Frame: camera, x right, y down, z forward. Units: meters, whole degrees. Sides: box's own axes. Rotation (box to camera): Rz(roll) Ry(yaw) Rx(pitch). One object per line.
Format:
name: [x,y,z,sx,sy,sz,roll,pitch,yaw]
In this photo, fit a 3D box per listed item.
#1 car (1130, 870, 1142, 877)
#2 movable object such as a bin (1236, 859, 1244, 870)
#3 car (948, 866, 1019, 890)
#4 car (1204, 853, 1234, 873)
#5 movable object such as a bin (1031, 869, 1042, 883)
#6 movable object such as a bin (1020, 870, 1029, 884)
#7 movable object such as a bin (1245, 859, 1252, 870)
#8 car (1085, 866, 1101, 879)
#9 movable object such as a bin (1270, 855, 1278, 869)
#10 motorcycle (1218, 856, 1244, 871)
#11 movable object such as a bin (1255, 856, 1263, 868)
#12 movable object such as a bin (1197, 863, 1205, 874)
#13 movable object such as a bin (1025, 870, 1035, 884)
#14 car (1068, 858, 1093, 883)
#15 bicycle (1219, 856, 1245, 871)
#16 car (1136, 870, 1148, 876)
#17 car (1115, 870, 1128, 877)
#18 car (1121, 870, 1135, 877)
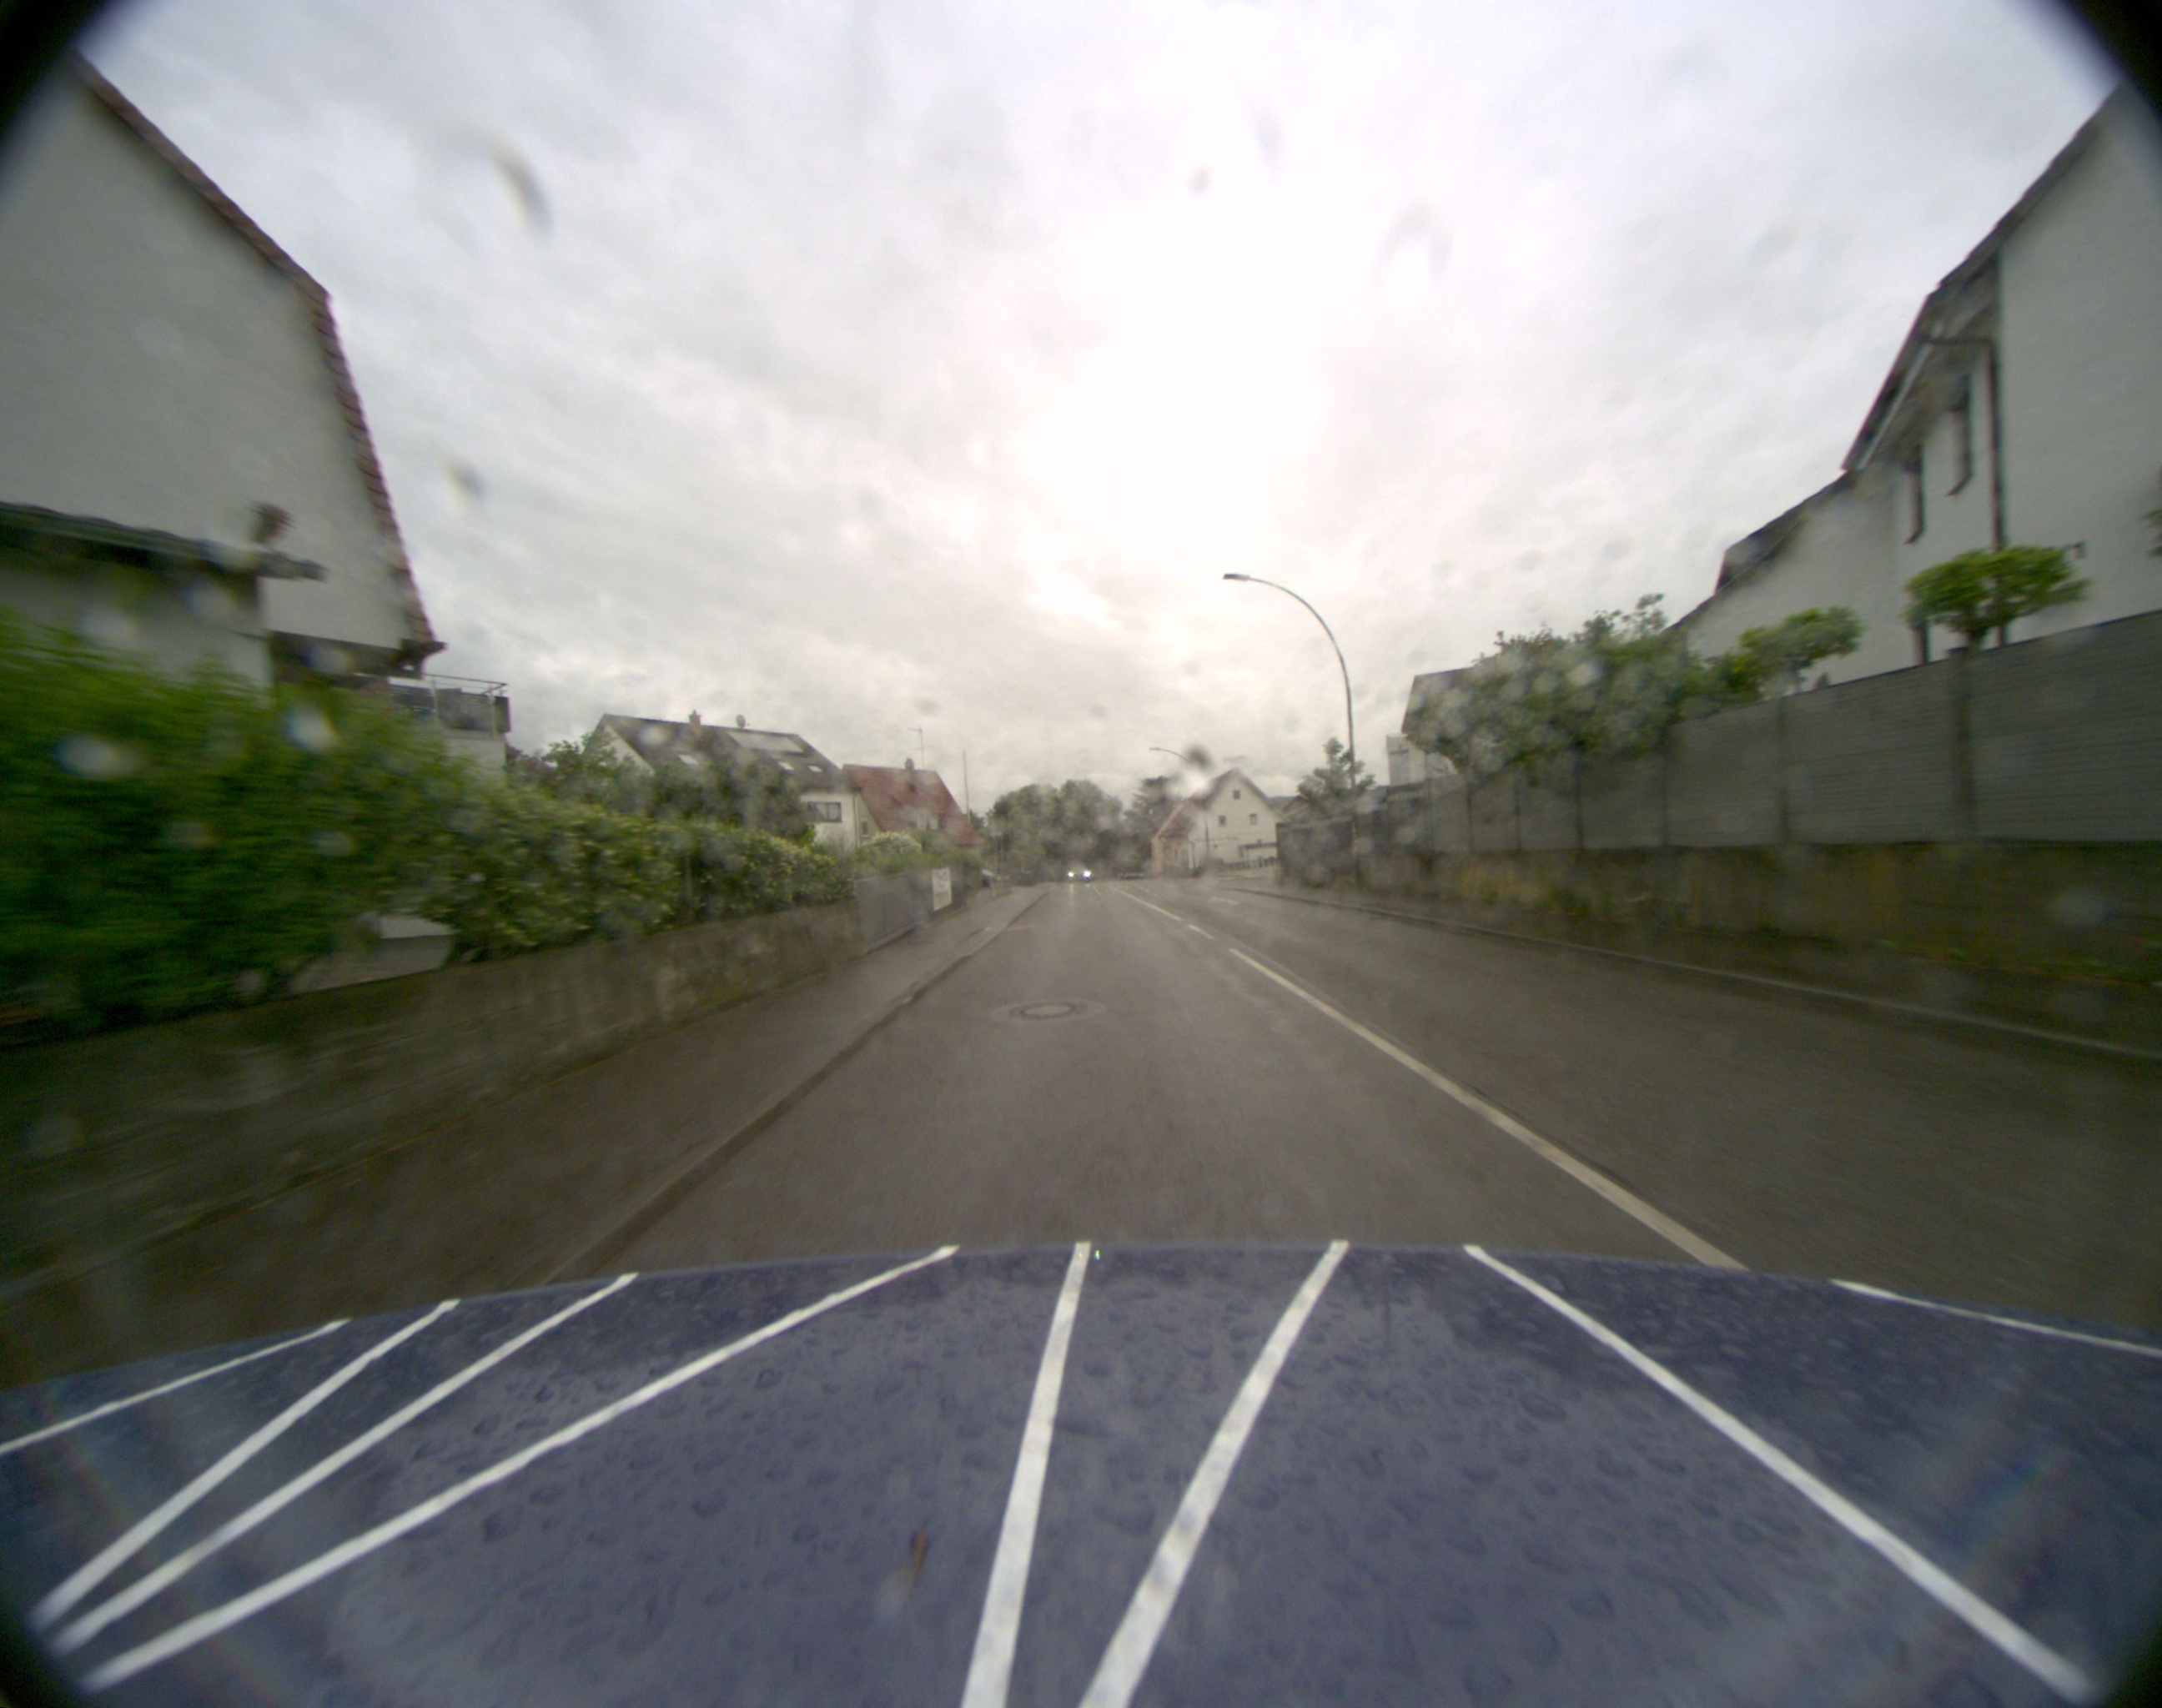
car: [12.503,4.388,172.994,1.761,1.410,4.160,-2,-2,20]
movable object such as a bin: [14.433,0.940,69.106,0.639,1.026,0.605,-2,-1,14]
car: [-6.948,1.682,54.265,4.563,1.375,2.003,-5,-2,20]
car: [11.708,0.762,64.290,1.904,1.433,3.834,-5,-2,18]
movable object such as a bin: [-3.326,1.655,57.105,0.530,1.015,0.734,-2,-1,19]
movable object such as a bin: [-4.228,1.702,56.895,0.443,1.015,0.525,-2,-1,26]
movable object such as a bin: [15.183,0.937,68.915,0.639,1.026,0.605,-2,-1,14]
car: [1.580,2.390,98.365,1.948,1.564,4.228,-2,-2,2]
movable object such as a bin: [17.301,0.712,68.011,0.639,1.123,0.605,-5,-1,14]
motorcycle: [13.150,0.846,66.688,2.113,1.107,0.781,-7,0,16]
movable object such as a bin: [16.037,0.709,68.439,0.639,1.026,0.605,-3,-1,12]
movable object such as a bin: [11.072,1.314,69.933,0.639,1.026,0.674,-2,-1,14]
movable object such as a bin: [-3.750,1.692,55.538,0.628,1.015,0.541,-1,-1,5]
car: [-0.074,1.391,66.101,1.999,2.001,4.000,-3,-1,-2]
bicycle: [13.364,0.821,67.407,2.101,1.107,0.738,-6,0,16]
car: [14.321,4.489,178.016,1.761,1.410,4.160,-1,-2,19]
car: [8.620,4.110,162.262,1.792,1.523,3.806,-2,-2,19]
car: [10.400,4.281,167.481,1.996,1.410,4.492,-2,-2,20]
